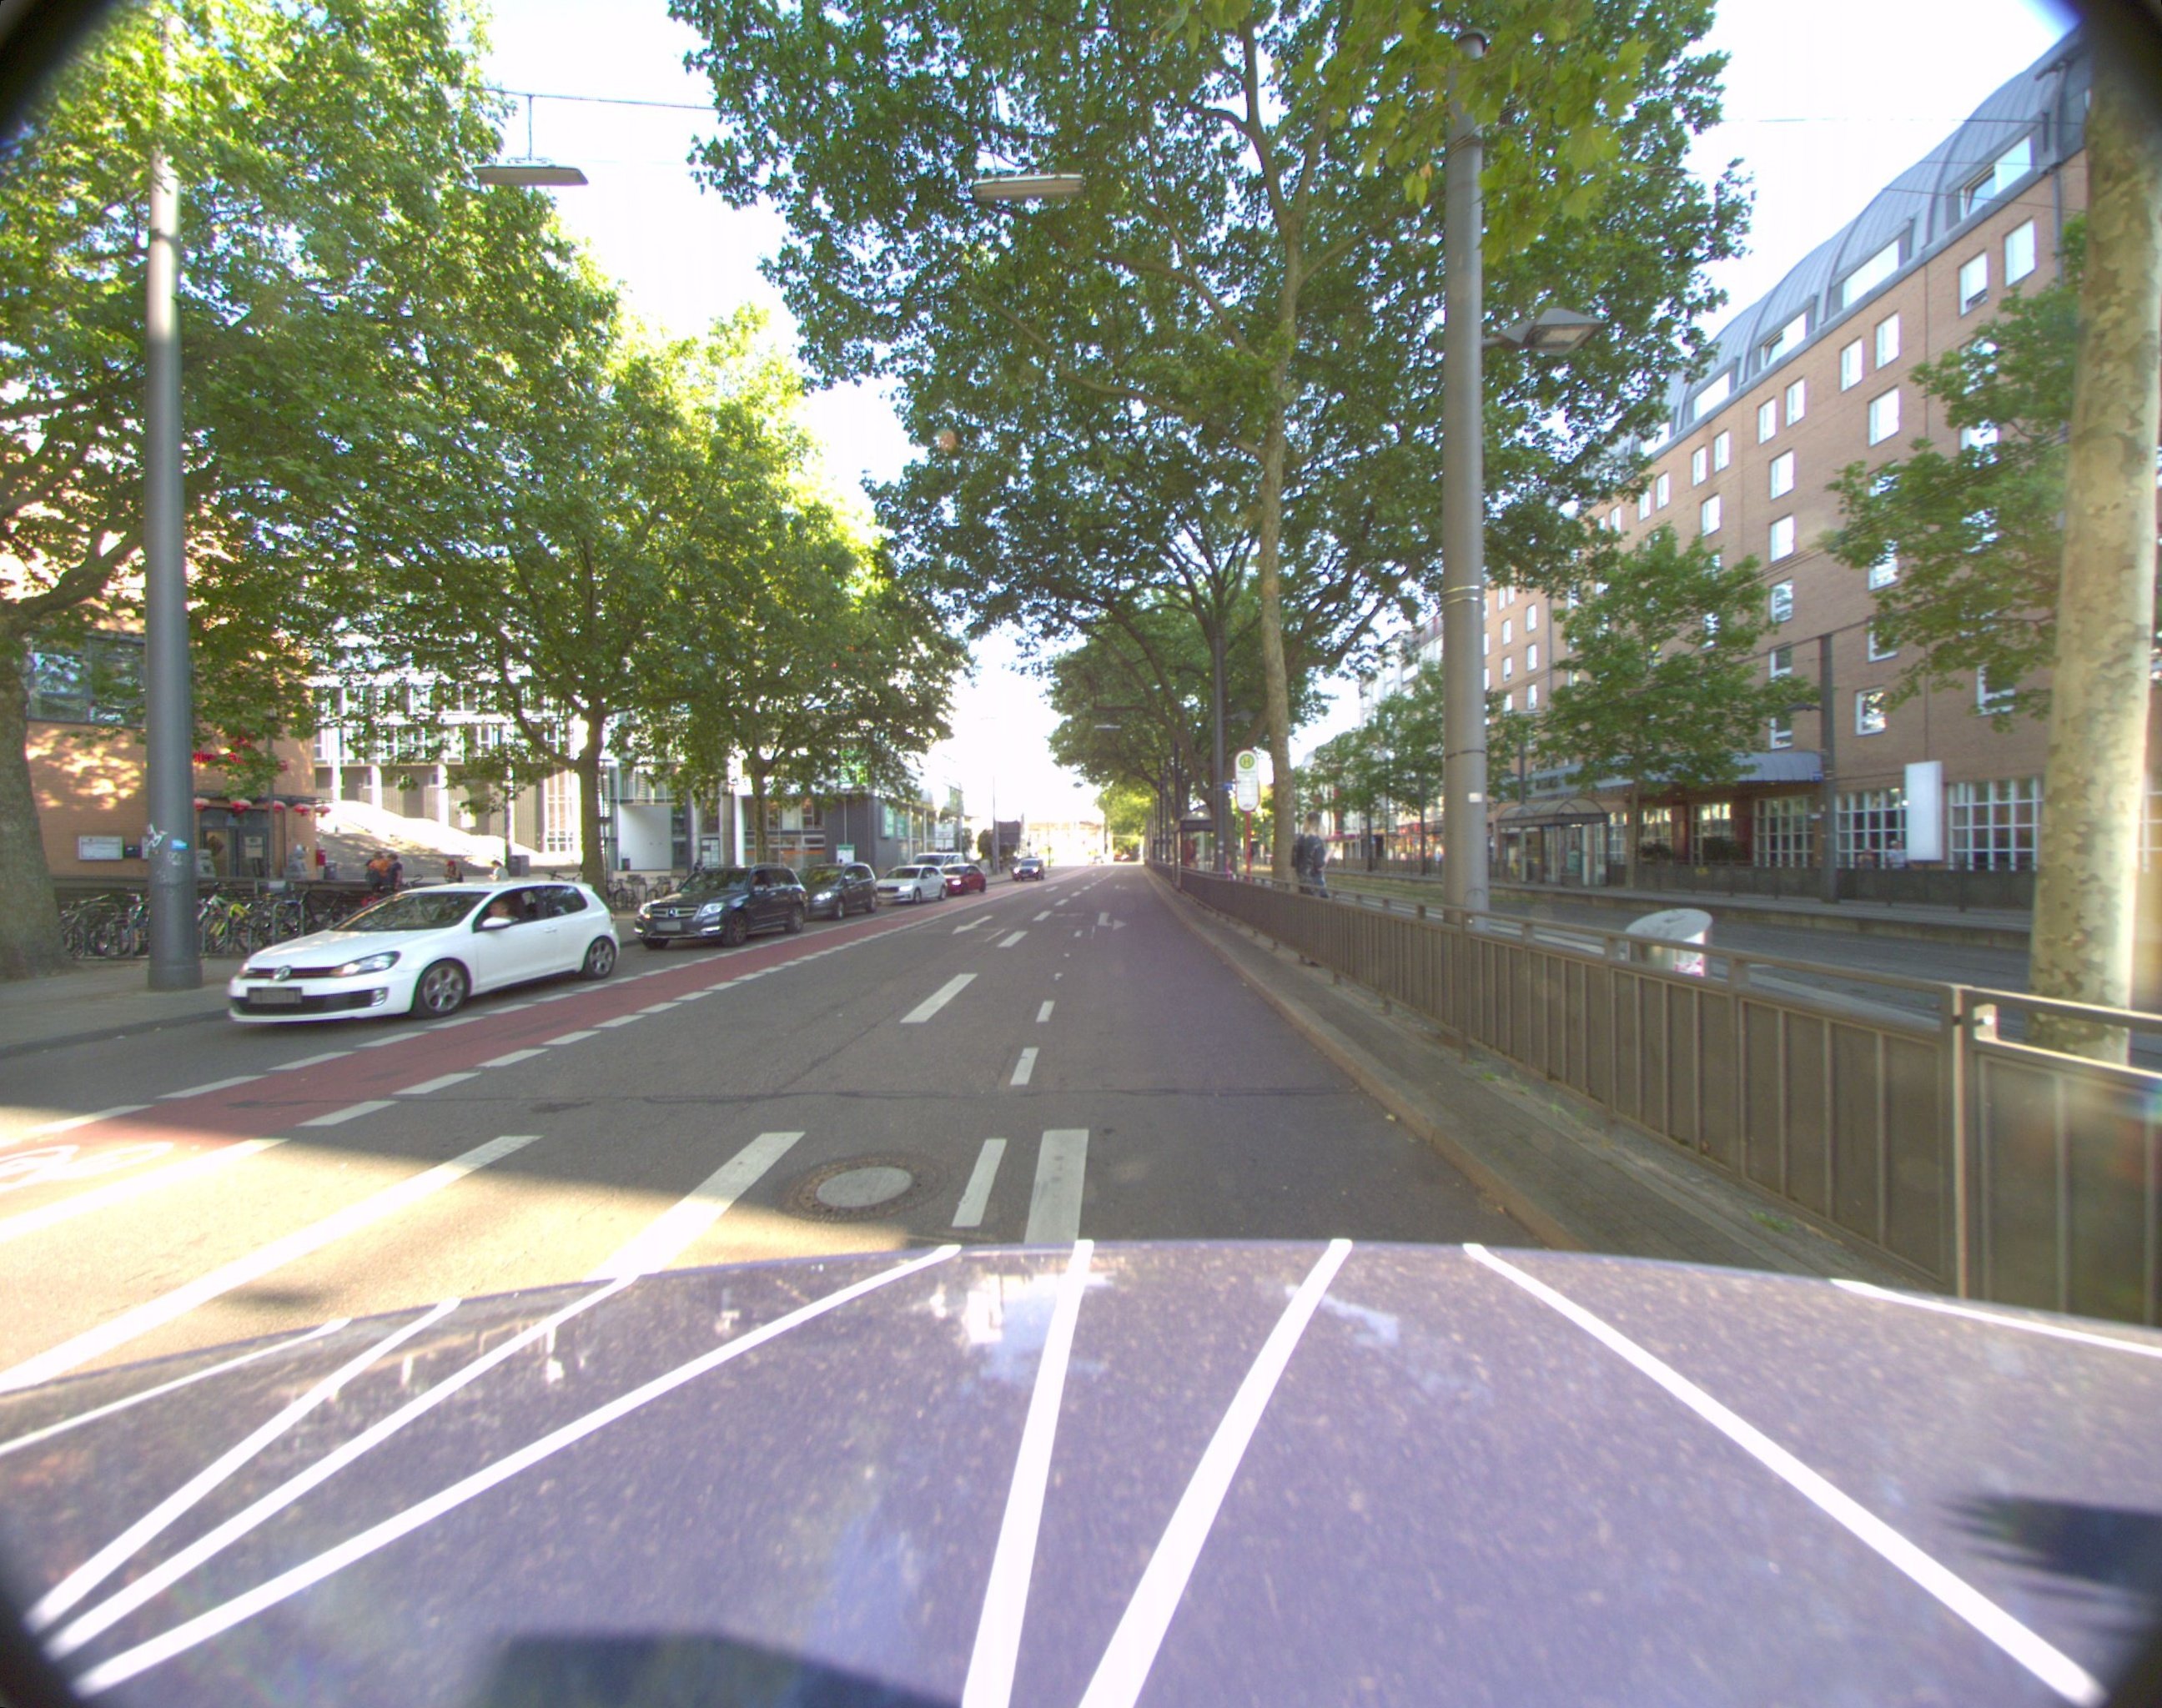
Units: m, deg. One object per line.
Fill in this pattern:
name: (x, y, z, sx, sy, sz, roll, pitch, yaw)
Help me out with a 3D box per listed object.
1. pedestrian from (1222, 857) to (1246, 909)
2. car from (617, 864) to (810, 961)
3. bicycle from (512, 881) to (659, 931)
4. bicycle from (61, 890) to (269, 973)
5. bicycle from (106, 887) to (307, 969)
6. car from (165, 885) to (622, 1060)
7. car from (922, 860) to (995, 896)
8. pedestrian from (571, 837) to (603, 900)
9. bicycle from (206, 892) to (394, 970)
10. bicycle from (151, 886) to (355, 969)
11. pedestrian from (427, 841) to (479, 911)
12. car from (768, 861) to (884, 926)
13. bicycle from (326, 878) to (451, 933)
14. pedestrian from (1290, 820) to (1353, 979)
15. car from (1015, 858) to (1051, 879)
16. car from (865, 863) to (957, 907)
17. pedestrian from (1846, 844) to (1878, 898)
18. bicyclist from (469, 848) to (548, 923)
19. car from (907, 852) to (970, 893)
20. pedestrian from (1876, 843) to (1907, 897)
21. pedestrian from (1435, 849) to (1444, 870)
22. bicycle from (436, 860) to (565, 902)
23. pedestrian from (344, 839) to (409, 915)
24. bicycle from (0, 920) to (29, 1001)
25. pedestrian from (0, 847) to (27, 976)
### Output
pedestrian: (3.963, 0.751, 19.679, 0.542, 1.310, 0.524, -2, 1, 12)
car: (-7.388, 1.093, 15.835, 1.769, 1.626, 4.250, -2, 0, 2)
bicycle: (-12.953, 1.336, 20.065, 0.975, 1.020, 3.208, -2, 1, 23)
bicycle: (-15.597, 1.270, 13.072, 0.657, 1.155, 2.293, -2, 1, 3)
bicycle: (-14.884, 1.208, 13.061, 0.671, 1.155, 2.305, 0, 1, 3)
car: (-7.611, 1.190, 9.059, 1.639, 1.420, 3.987, -2, 0, 3)
car: (-5.726, 1.083, 35.993, 1.834, 1.481, 4.199, -3, 0, 14)
pedestrian: (-20.913, 0.602, 32.176, 0.981, 2.633, 0.900, -3, 1, -31)
bicycle: (-13.117, 1.242, 12.896, 0.682, 1.054, 2.337, -1, 1, 2)
bicycle: (-14.052, 1.197, 13.042, 0.751, 1.155, 2.398, -2, 1, 3)
pedestrian: (-20.504, 0.708, 24.816, 0.842, 2.220, 0.905, -2, 1, 22)
car: (-7.432, 1.089, 22.635, 1.709, 1.626, 4.391, -2, 0, 4)
bicycle: (-17.848, 1.283, 19.710, 0.699, 1.193, 2.700, -2, 1, 1)
pedestrian: (2.854, 0.523, 9.043, 0.543, 1.823, 0.524, -2, 1, 3)
car: (-3.648, 1.086, 58.387, 1.784, 1.481, 4.198, -3, 0, 10)
car: (-6.523, 1.141, 29.670, 1.834, 1.481, 4.199, -2, 0, 12)
pedestrian: (25.216, 0.530, 24.548, 0.479, 1.725, 0.545, 0, 1, 8)
bicyclist: (-15.886, 0.851, 21.105, 1.296, 2.002, 1.158, -1, 1, 17)
car: (-7.506, 0.908, 40.626, 1.933, 1.953, 5.919, -2, 0, 2)
pedestrian: (26.050, 0.499, 24.428, 0.443, 1.725, 0.545, 0, 1, 8)
pedestrian: (30.430, 0.478, 64.418, 0.504, 1.725, 0.574, -1, 1, 3)
bicycle: (-16.191, 0.723, 21.189, 3.328, 1.077, 1.150, 0, 1, 18)
pedestrian: (-21.642, 0.682, 23.349, 1.048, 2.235, 1.221, -1, 1, 38)
bicycle: (-13.389, 1.311, 7.990, 0.925, 0.943, 2.637, -2, 1, 1)
pedestrian: (-17.082, 0.893, 11.459, 0.934, 2.002, 1.091, -1, 1, -25)
